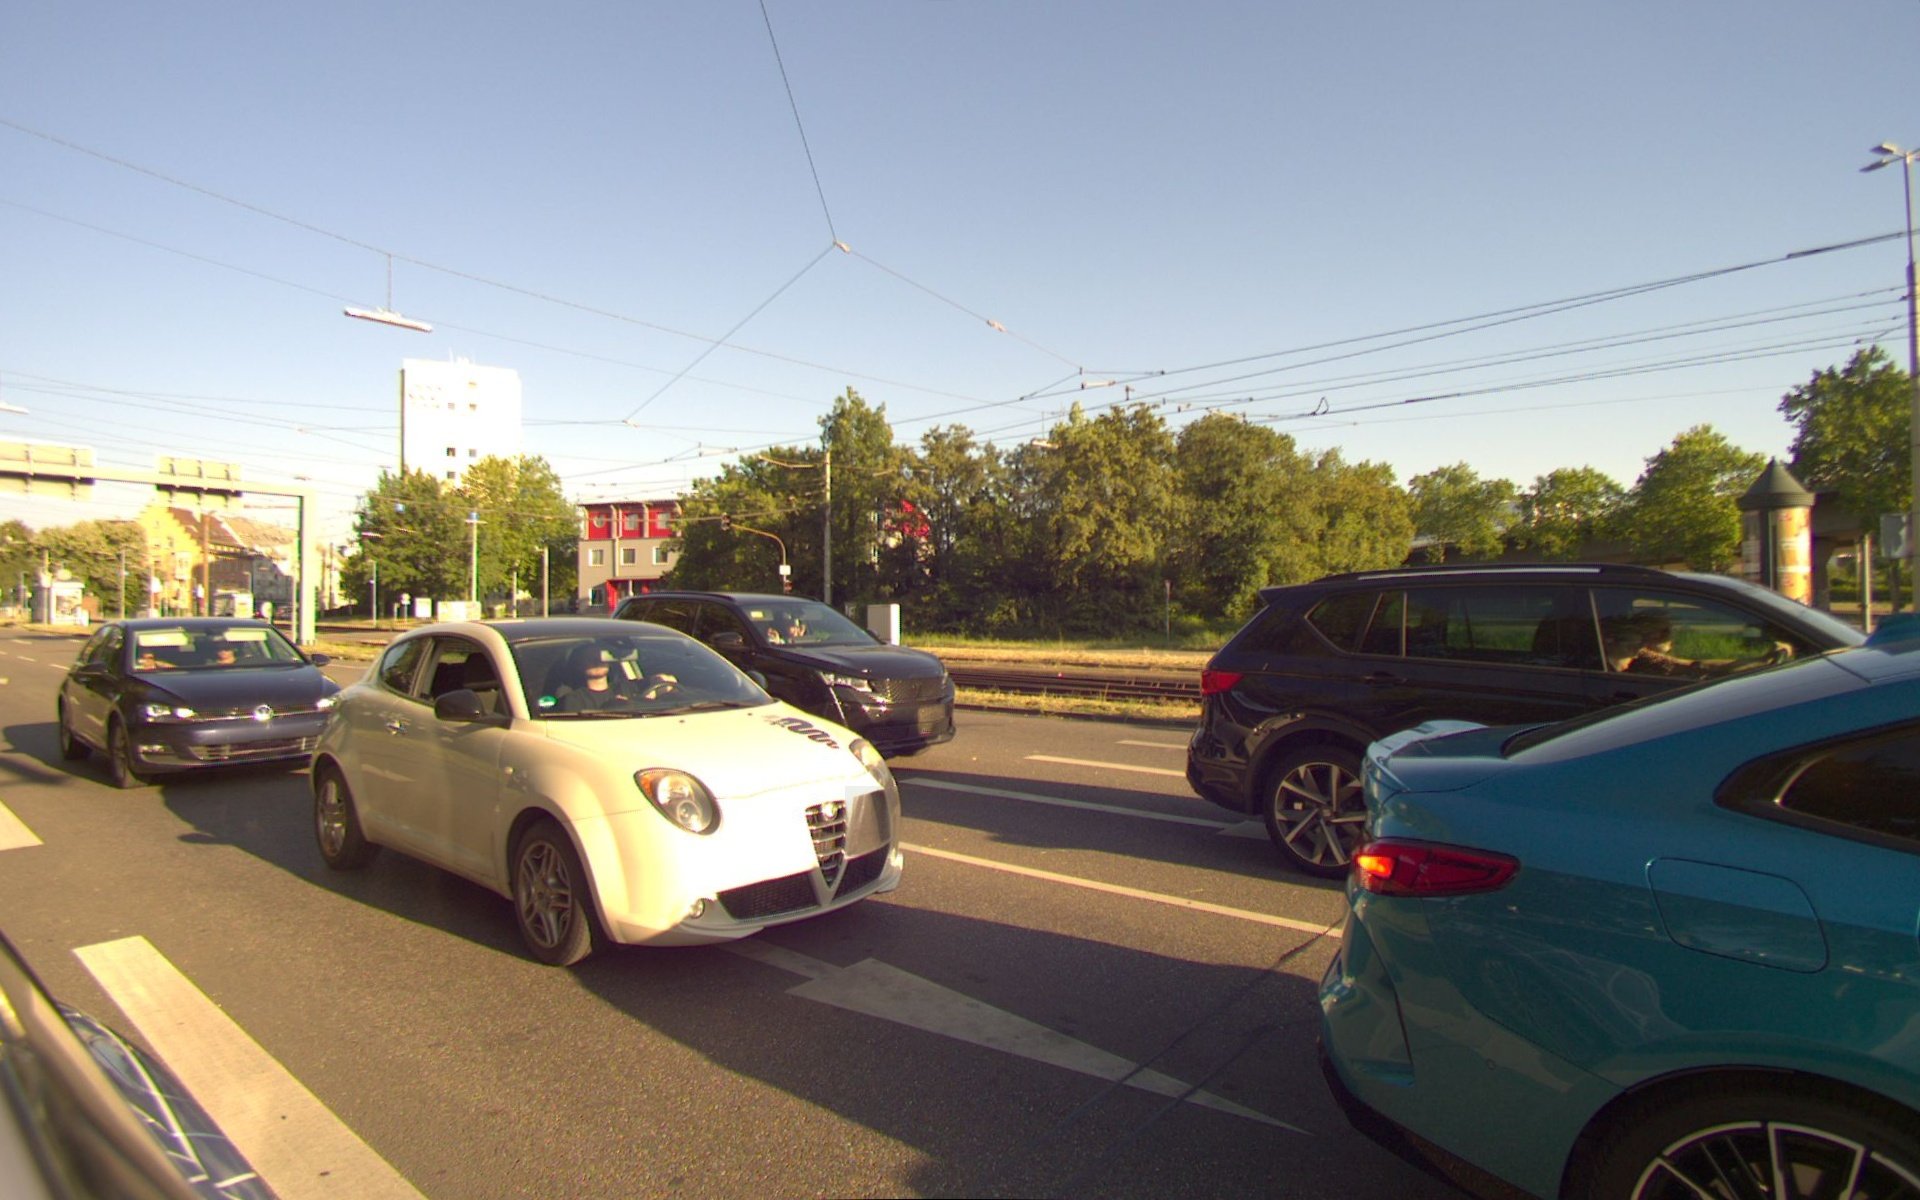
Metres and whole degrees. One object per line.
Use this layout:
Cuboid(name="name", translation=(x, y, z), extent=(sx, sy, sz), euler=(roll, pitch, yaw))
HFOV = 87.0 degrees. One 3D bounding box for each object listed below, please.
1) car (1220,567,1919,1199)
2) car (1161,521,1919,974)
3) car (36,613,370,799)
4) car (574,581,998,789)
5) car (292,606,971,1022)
Cuboid(name="car", translation=(2.872, 0.653, 1.481), extent=(4.507, 1.428, 1.767), euler=(-1, -1, 39))
Cuboid(name="car", translation=(3.523, 0.567, 5.079), extent=(4.598, 1.694, 1.896), euler=(-1, -1, 40))
Cuboid(name="car", translation=(-7.456, 0.862, 9.837), extent=(3.921, 1.441, 1.759), euler=(-1, -1, 40))
Cuboid(name="car", translation=(-1.963, 0.718, 10.367), extent=(4.601, 1.661, 1.894), euler=(-1, -1, 43))
Cuboid(name="car", translation=(-1.973, 0.774, 5.419), extent=(3.921, 1.441, 1.644), euler=(-1, -1, 40))
